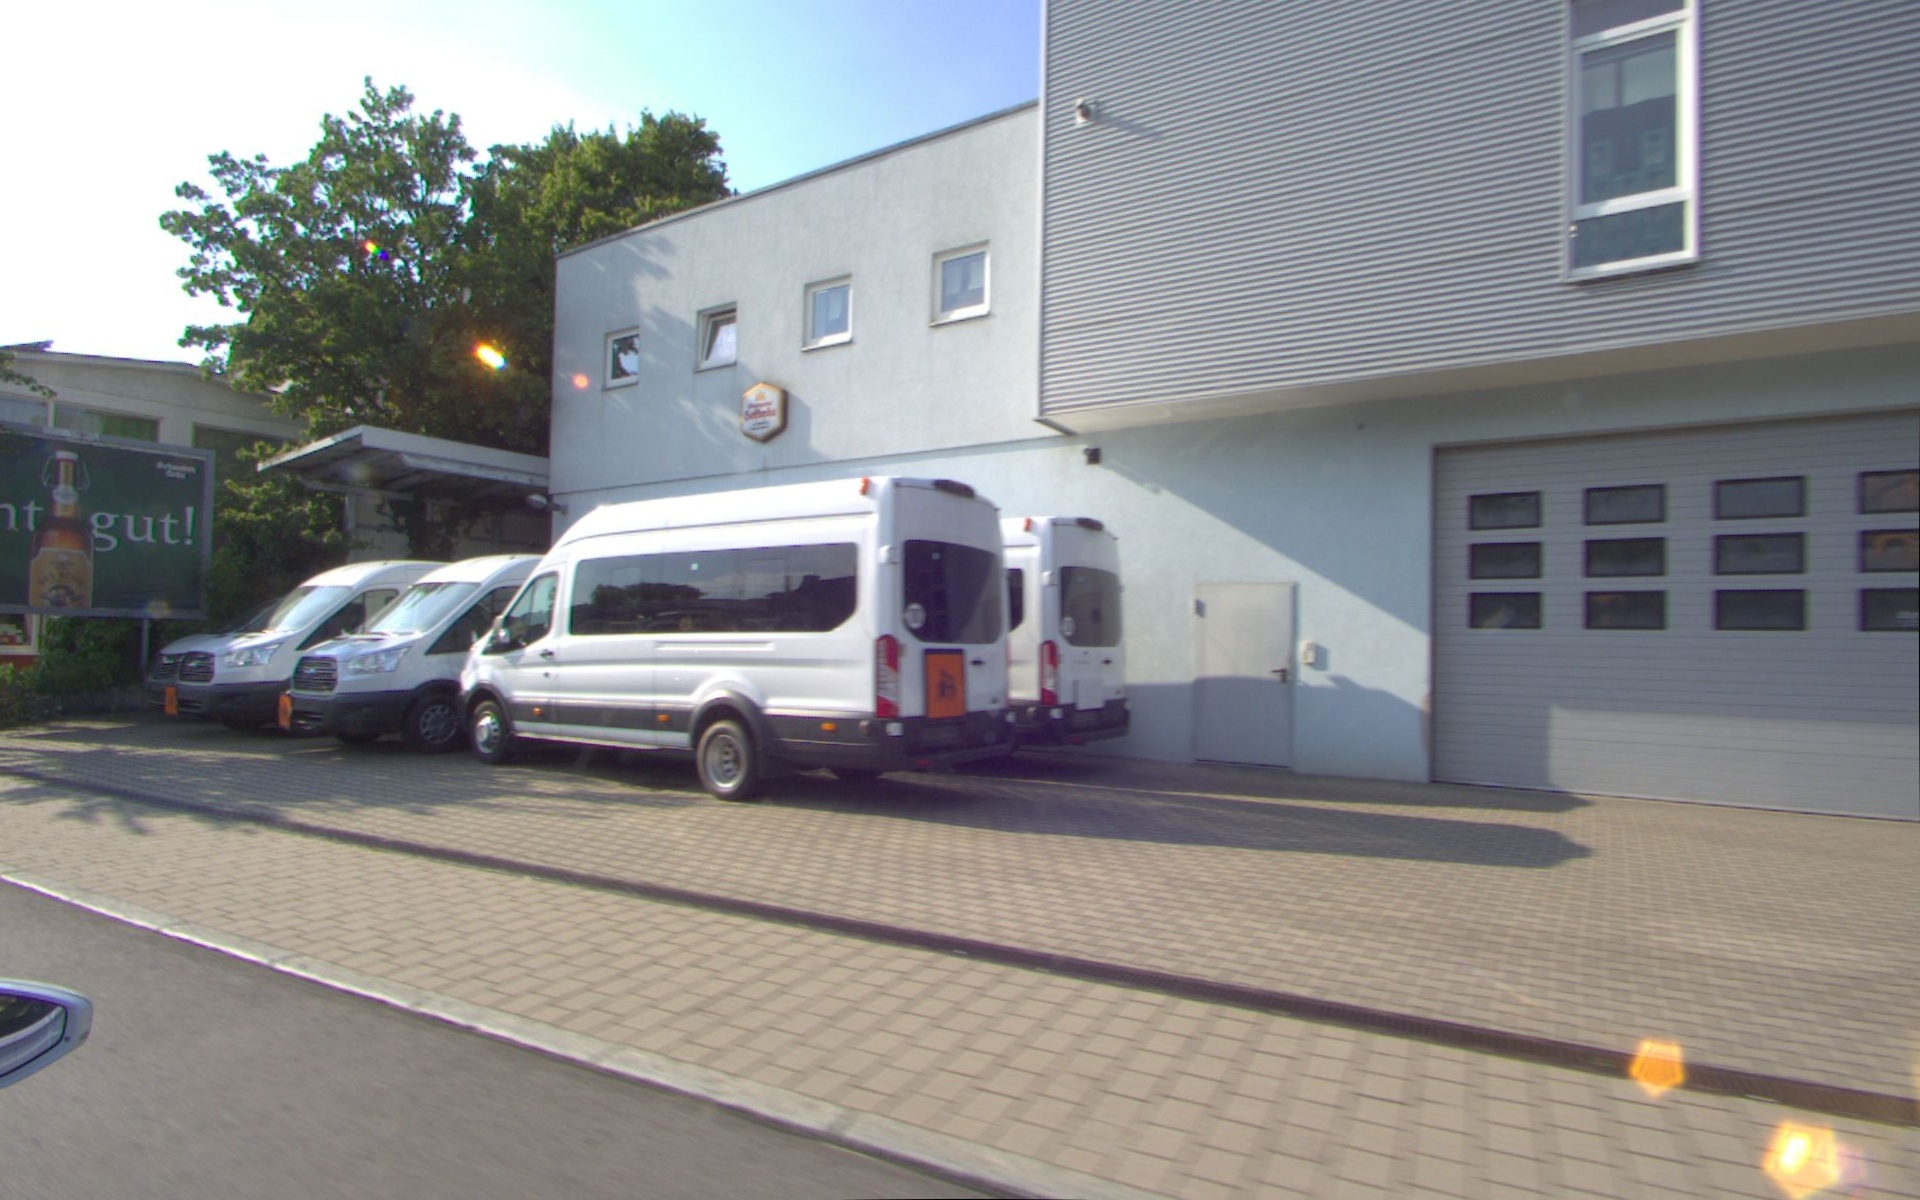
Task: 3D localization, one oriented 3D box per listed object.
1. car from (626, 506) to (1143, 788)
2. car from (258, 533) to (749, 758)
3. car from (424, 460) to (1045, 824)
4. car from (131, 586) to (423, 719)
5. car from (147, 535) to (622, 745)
[{"bbox_3d":[-1.133,0.495,12.388,6.350,2.756,2.108,0,-2,32],"label":"car"},{"bbox_3d":[-5.762,0.603,13.762,2.014,2.393,6.036,0,-2,31],"label":"car"},{"bbox_3d":[-2.542,0.353,10.147,6.508,2.715,2.146,0,-2,33],"label":"car"},{"bbox_3d":[-10.984,0.826,16.359,1.563,1.918,3.596,0,-2,30],"label":"car"},{"bbox_3d":[-8.278,0.600,15.254,2.014,2.548,6.036,0,-2,31],"label":"car"}]
